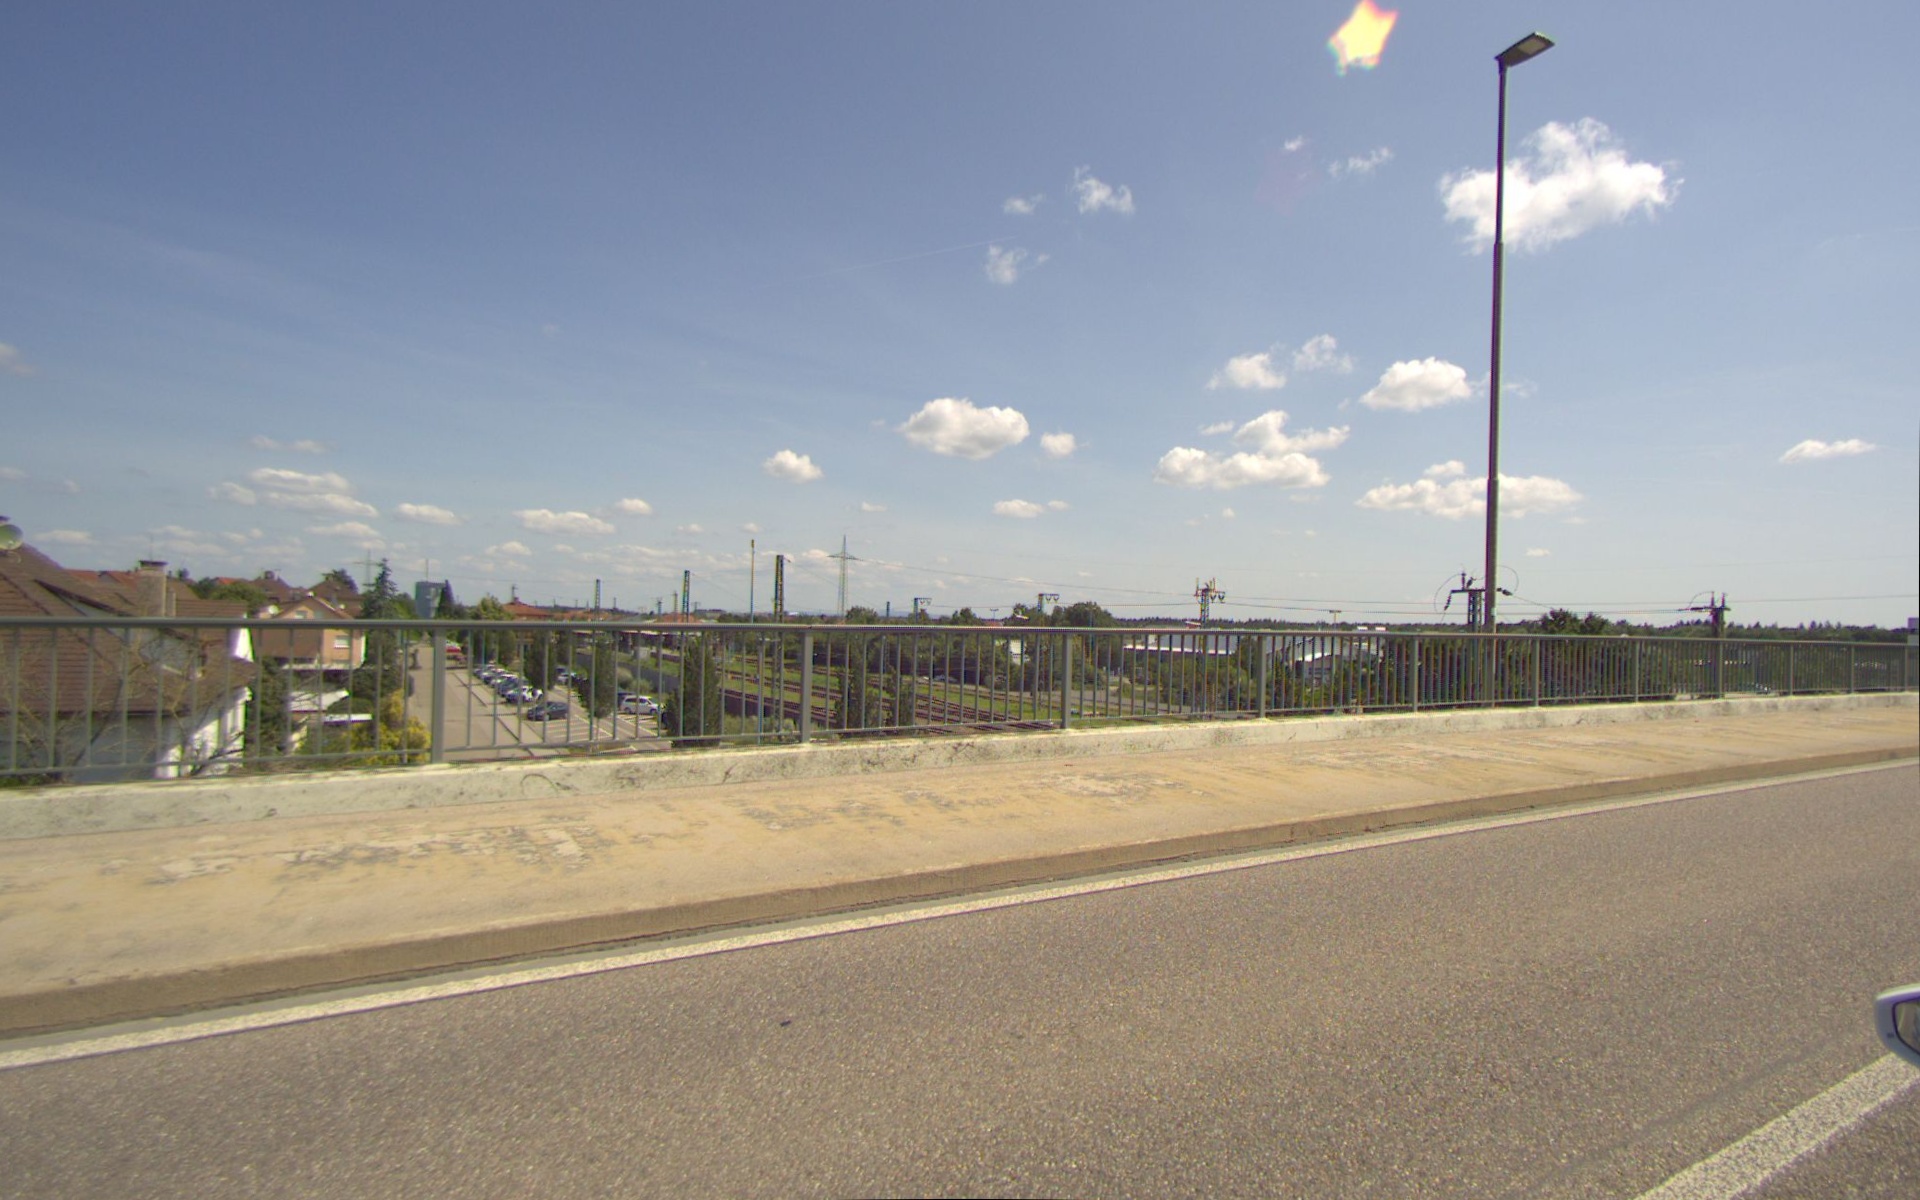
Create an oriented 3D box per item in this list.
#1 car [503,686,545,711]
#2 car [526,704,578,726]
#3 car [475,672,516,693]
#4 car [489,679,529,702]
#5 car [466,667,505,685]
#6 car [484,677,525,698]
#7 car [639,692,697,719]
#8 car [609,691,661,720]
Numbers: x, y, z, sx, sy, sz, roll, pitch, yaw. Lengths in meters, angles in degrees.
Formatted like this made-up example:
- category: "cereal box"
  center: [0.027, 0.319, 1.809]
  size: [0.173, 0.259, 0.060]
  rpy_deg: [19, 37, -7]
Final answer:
- category: "car"
  center: [-43.251, 9.785, 99.770]
  size: [1.959, 2.040, 4.003]
  rpy_deg: [1, 0, 9]
- category: "car"
  center: [-33.868, 9.539, 83.426]
  size: [1.837, 1.461, 3.617]
  rpy_deg: [1, 0, 44]
- category: "car"
  center: [-54.249, 9.634, 117.395]
  size: [1.962, 2.040, 3.998]
  rpy_deg: [1, 0, 23]
- category: "car"
  center: [-48.509, 9.713, 108.135]
  size: [1.959, 2.040, 4.002]
  rpy_deg: [1, 0, 12]
- category: "car"
  center: [-59.638, 9.562, 126.391]
  size: [1.964, 2.040, 3.993]
  rpy_deg: [1, 0, 30]
- category: "car"
  center: [-50.493, 9.686, 111.406]
  size: [1.959, 2.040, 4.002]
  rpy_deg: [1, 0, 14]
- category: "car"
  center: [-25.659, 9.271, 88.432]
  size: [4.771, 2.041, 1.994]
  rpy_deg: [2, 2, -14]
- category: "car"
  center: [-29.347, 9.544, 90.773]
  size: [3.919, 2.041, 2.001]
  rpy_deg: [4, 3, 10]
